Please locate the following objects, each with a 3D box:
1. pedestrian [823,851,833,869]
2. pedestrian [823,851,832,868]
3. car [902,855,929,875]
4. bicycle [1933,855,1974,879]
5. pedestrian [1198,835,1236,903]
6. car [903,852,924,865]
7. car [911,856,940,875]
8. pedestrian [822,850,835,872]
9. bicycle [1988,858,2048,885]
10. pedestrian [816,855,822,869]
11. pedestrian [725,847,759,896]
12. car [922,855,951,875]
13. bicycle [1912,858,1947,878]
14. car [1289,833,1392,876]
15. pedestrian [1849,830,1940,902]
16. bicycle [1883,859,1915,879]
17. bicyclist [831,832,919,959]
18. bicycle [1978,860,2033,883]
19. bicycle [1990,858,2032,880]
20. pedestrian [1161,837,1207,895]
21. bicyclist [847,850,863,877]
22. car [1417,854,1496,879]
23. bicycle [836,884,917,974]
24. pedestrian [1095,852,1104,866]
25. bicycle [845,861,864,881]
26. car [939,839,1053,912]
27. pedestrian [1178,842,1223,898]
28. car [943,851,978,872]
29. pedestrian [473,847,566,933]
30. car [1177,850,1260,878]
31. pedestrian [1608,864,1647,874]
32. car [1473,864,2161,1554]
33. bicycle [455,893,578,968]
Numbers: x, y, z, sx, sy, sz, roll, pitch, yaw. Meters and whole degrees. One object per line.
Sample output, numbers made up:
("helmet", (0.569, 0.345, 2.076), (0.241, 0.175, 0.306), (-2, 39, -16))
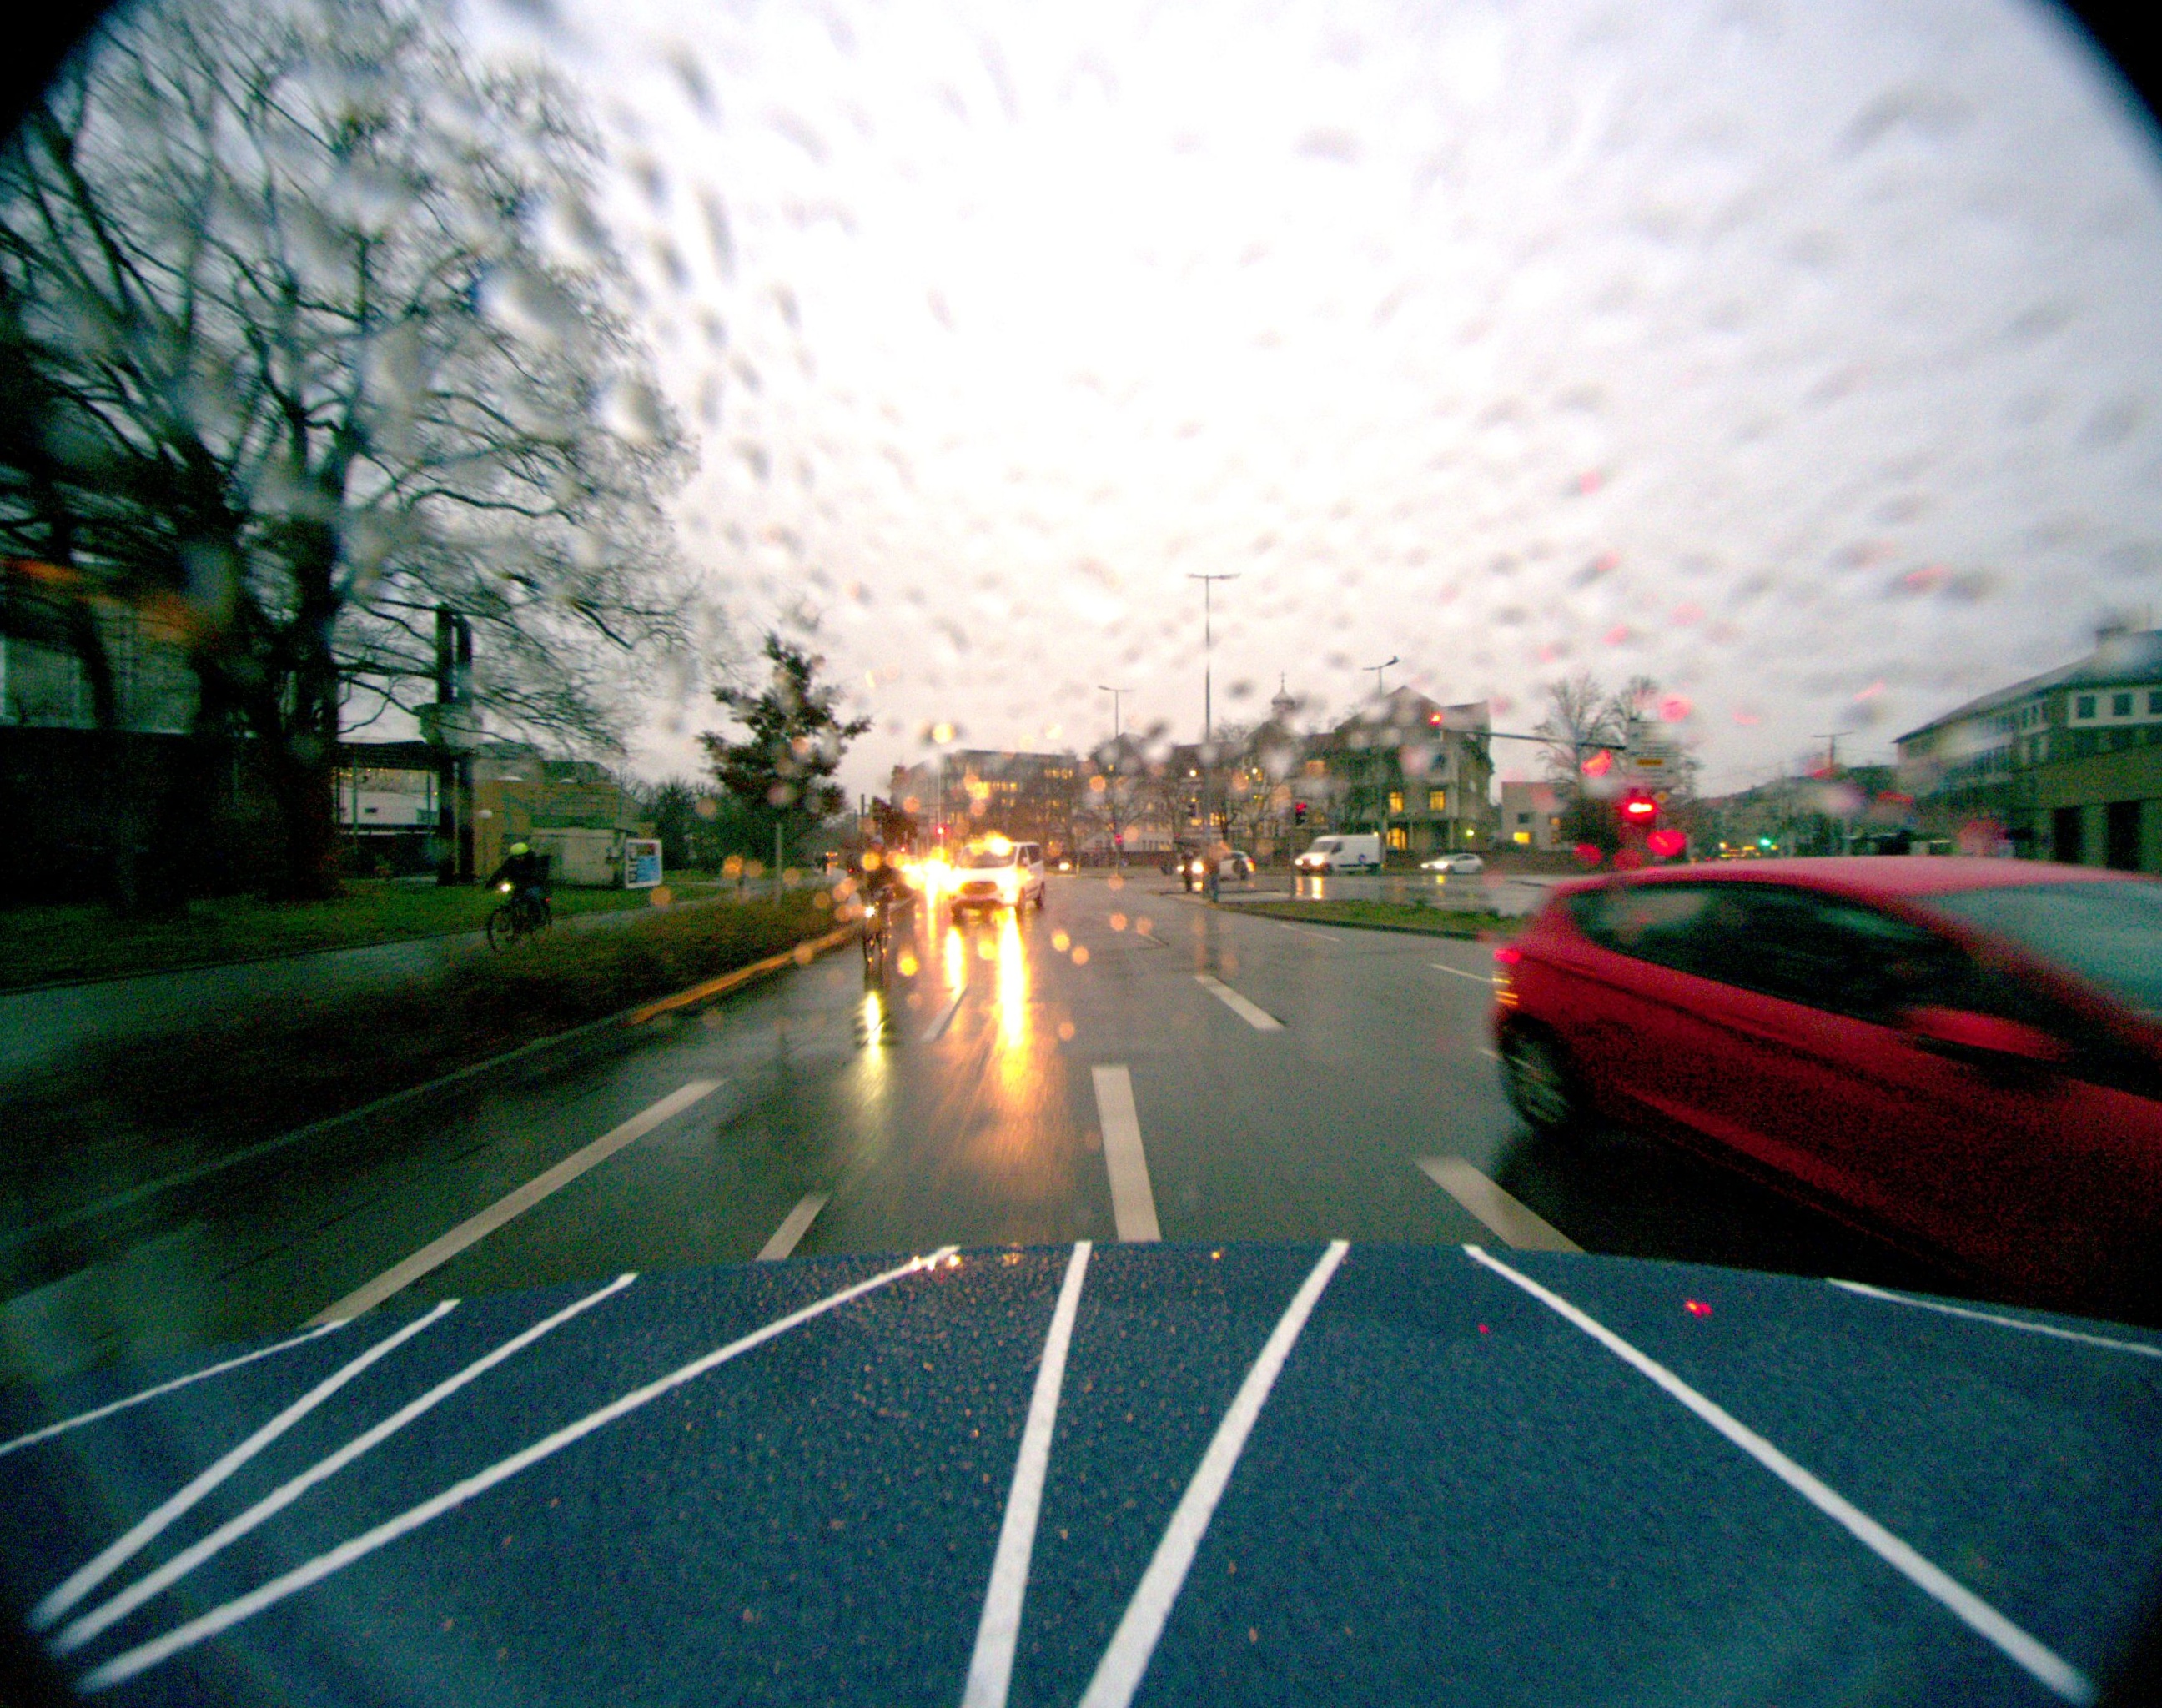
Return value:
("pedestrian", (-25.505, 0.574, 76.561), (0.934, 1.815, 0.832), (0, 1, -21))
("pedestrian", (-27.749, 0.638, 83.076), (0.934, 1.815, 0.832), (0, 1, -21))
("car", (-15.176, 0.967, 69.744), (2.002, 1.827, 3.993), (0, 0, -19))
("bicycle", (43.123, 0.664, 37.581), (0.645, 1.097, 2.757), (-2, -3, 35))
("pedestrian", (4.106, 0.458, 23.012), (0.848, 1.993, 1.109), (-1, -2, -4))
("car", (-21.085, 0.577, 95.482), (2.002, 1.558, 4.753), (1, 0, -20))
("car", (-13.115, 0.979, 63.938), (1.776, 1.478, 4.462), (0, 0, -20))
("pedestrian", (-20.757, 0.551, 62.468), (0.934, 1.815, 0.832), (0, 1, -21))
("bicycle", (40.792, 0.752, 33.115), (0.606, 1.098, 2.756), (-2, -1, 28))
("pedestrian", (-36.645, 1.107, 106.271), (0.767, 2.002, 0.771), (0, 1, -22))
("pedestrian", (-12.042, 0.633, 26.996), (0.913, 1.677, 0.926), (2, -2, -14))
("car", (-13.874, 1.038, 72.743), (2.002, 1.739, 4.462), (0, 0, -20))
("bicycle", (47.862, 0.816, 42.891), (0.645, 1.097, 2.757), (-2, -3, 35))
("car", (15.867, 0.055, 46.364), (5.875, 2.502, 2.344), (0, -2, -24))
("pedestrian", (21.595, 0.320, 20.208), (1.035, 1.846, 1.235), (-1, -2, -5))
("bicycle", (46.936, 0.858, 43.639), (0.645, 1.097, 2.757), (-2, -3, 35))
("bicyclist", (-3.209, 0.617, 11.984), (1.026, 1.872, 1.235), (-1, 1, -2))
("bicycle", (46.240, 0.845, 38.043), (0.645, 1.098, 2.756), (-2, -1, 26))
("bicycle", (49.231, 0.822, 40.242), (0.645, 1.097, 2.757), (-2, -3, 35))
("pedestrian", (3.659, 0.443, 27.145), (1.217, 2.037, 1.033), (0, -2, -31))
("bicyclist", (-13.832, 0.570, 46.535), (0.806, 1.608, 1.084), (3, 0, -11))
("car", (24.872, 0.812, 50.359), (4.822, 1.634, 1.835), (0, 1, -20))
("bicycle", (-3.203, 1.139, 12.088), (0.794, 1.215, 1.903), (-2, 0, -2))
("pedestrian", (2.426, 0.651, 99.875), (0.810, 1.820, 0.946), (0, 1, -24))
("bicycle", (-13.850, 1.020, 46.511), (0.806, 1.135, 2.211), (3, 0, -11))
("car", (-2.326, 0.654, 22.338), (2.135, 1.909, 5.022), (-1, -2, 8))
("pedestrian", (4.069, 0.561, 25.861), (1.037, 1.846, 1.068), (1, -2, -36))
("car", (-10.440, 0.641, 65.472), (2.002, 1.739, 4.936), (0, 0, -20))
("pedestrian", (-8.825, 0.544, 11.980), (0.877, 1.309, 0.847), (0, 1, -8))
("car", (7.529, 0.561, 41.640), (4.324, 1.494, 1.752), (0, -2, -29))
("pedestrian", (54.126, 1.526, 75.221), (3.091, 0.924, 0.951), (-2, -3, 36))
("car", (3.267, 0.839, 2.523), (1.705, 1.473, 3.870), (-3, 0, -3))
("bicycle", (-8.800, 1.147, 11.954), (0.563, 0.941, 2.094), (1, 1, -6))
